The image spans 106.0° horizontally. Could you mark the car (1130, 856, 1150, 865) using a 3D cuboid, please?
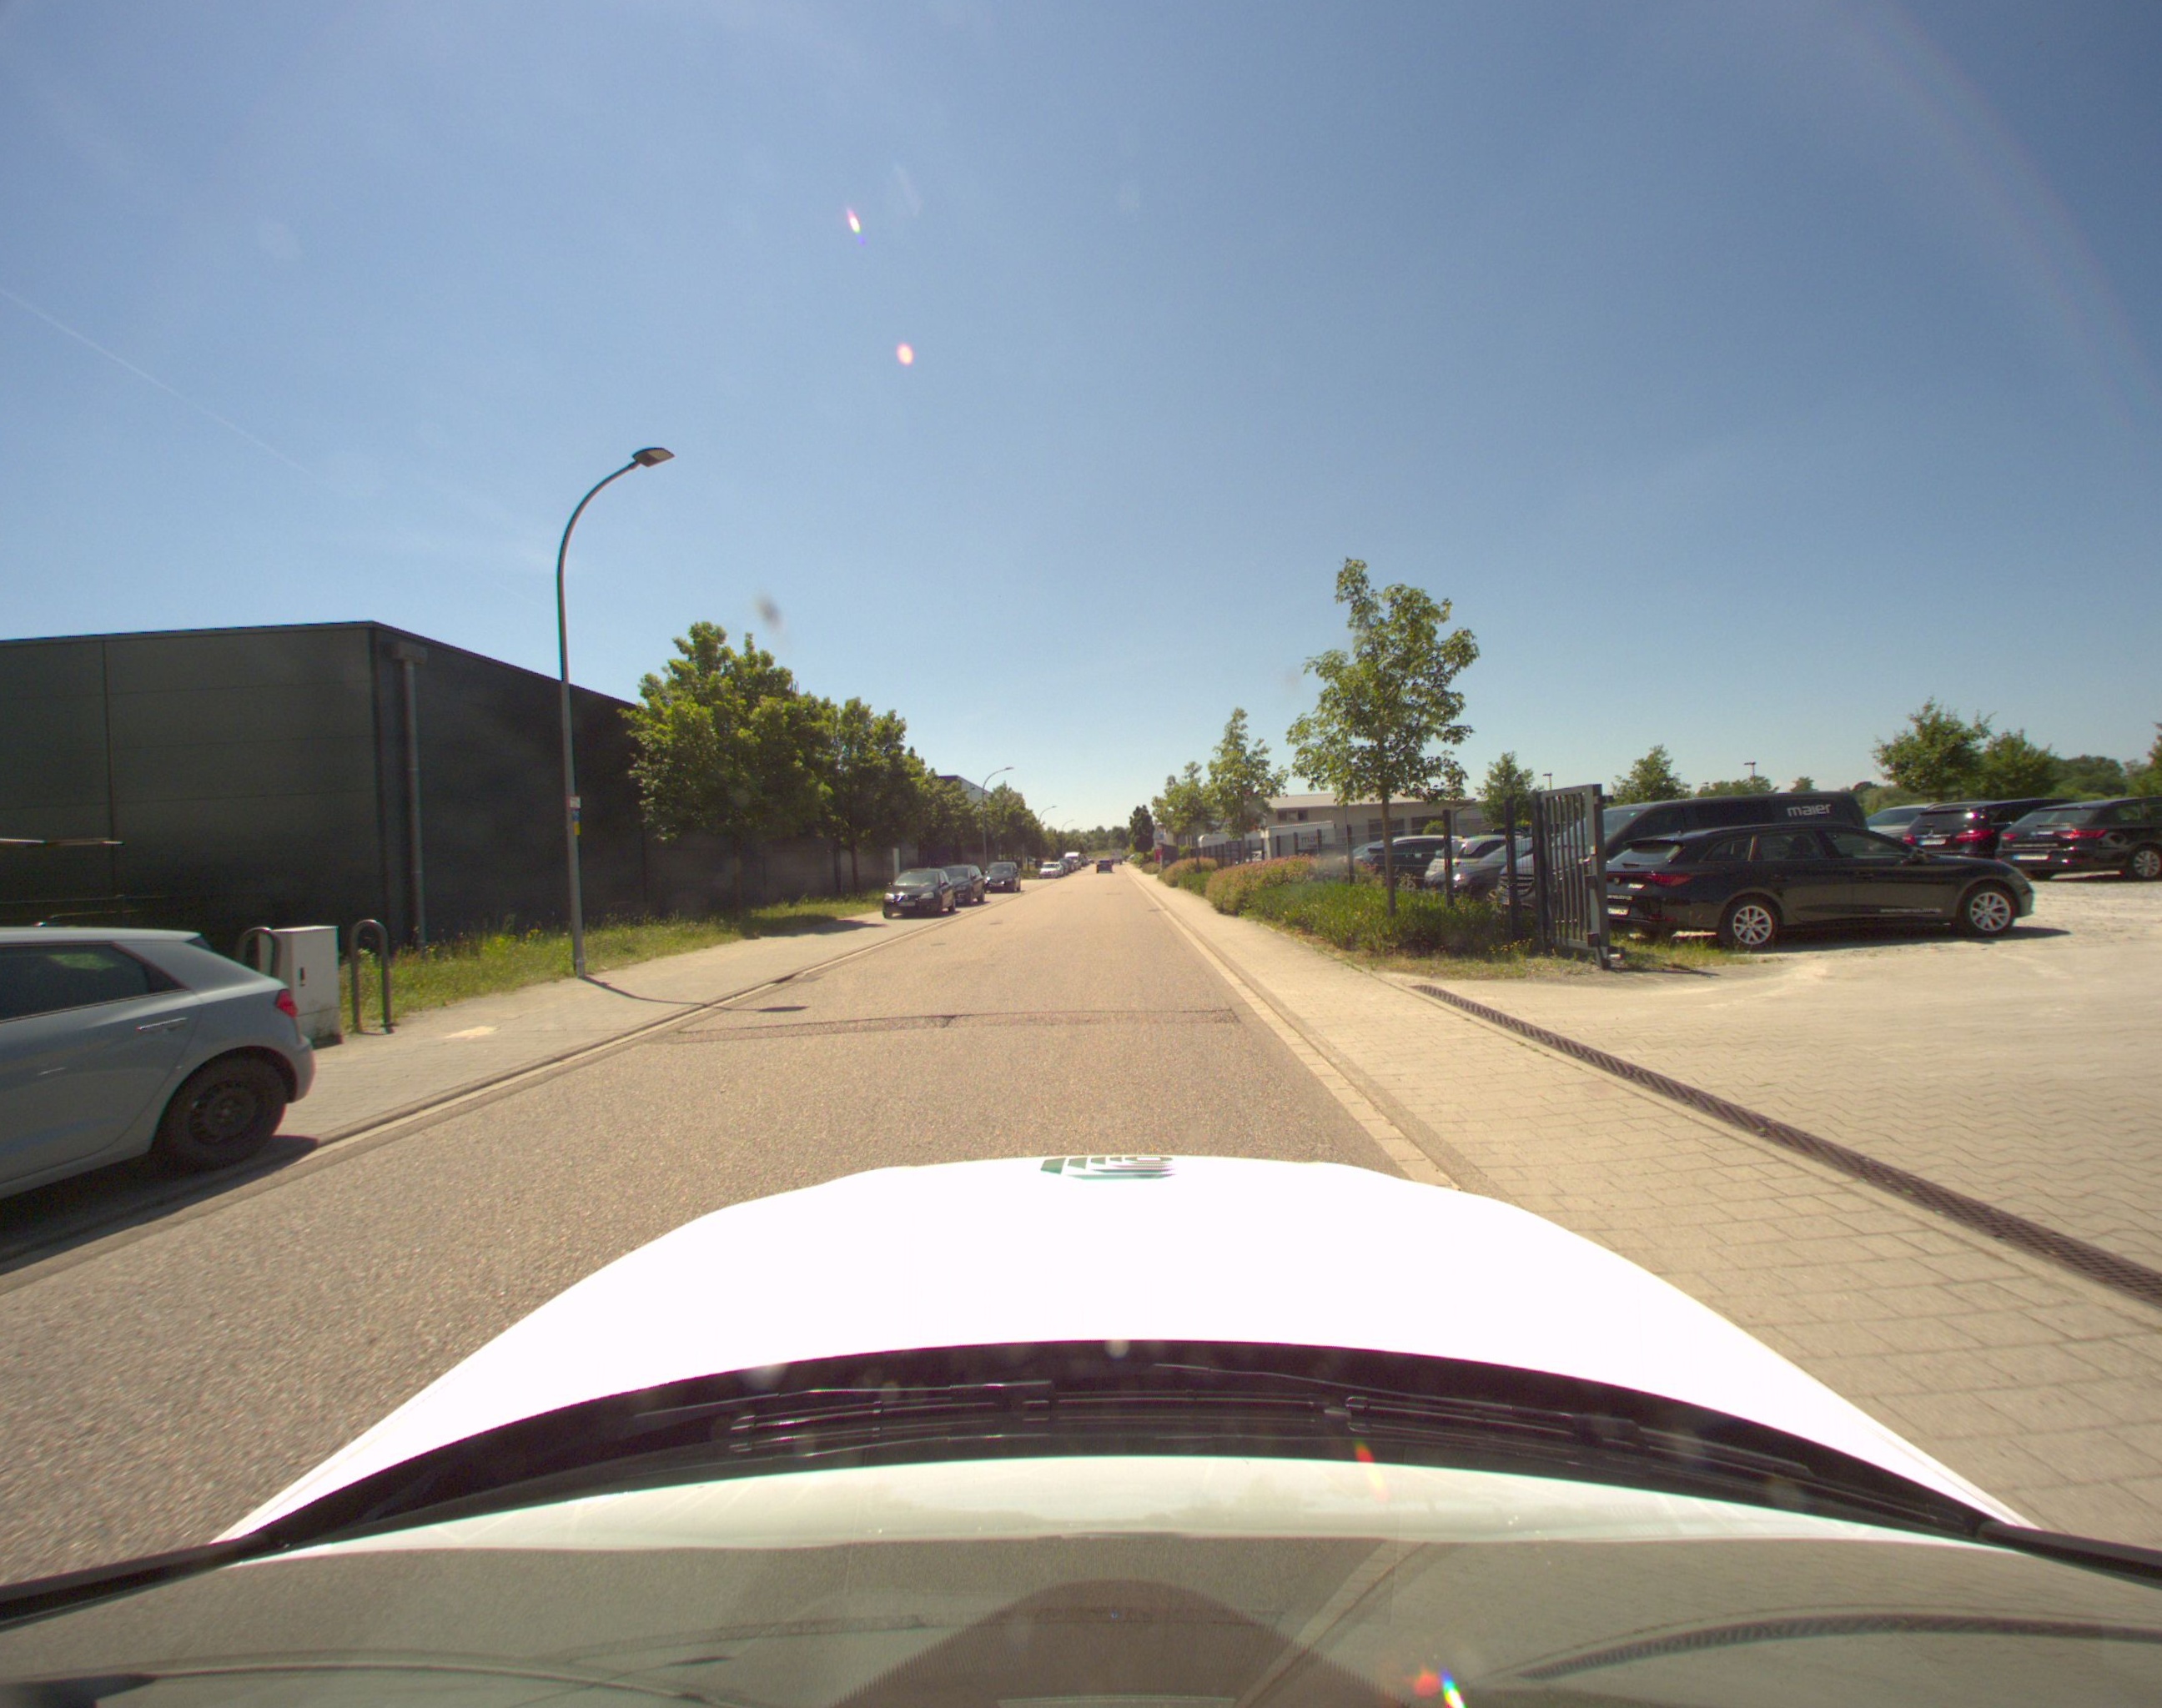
[{"bbox_3d":[11.786,1.255,163.583,3.863,1.750,1.751,0,-1,-1],"label":"car"}]

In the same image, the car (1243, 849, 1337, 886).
[{"bbox_3d":[9.699,0.623,38.041,3.830,1.440,1.805,-4,-1,-2],"label":"car"}]

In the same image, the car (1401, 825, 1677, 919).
[{"bbox_3d":[8.667,0.331,15.656,4.329,1.449,1.603,-4,-1,1],"label":"car"}]

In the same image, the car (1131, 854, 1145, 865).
[{"bbox_3d":[9.917,0.912,141.937,1.987,1.803,4.139,-3,-1,0],"label":"car"}]

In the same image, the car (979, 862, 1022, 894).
[{"bbox_3d":[-4.298,1.246,44.089,1.764,1.611,4.248,-2,-1,1],"label":"car"}]

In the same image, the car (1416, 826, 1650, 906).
[{"bbox_3d":[10.105,0.266,18.434,4.264,1.445,1.755,-4,-1,1],"label":"car"}]

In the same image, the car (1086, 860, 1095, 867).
[{"bbox_3d":[2.309,2.289,194.757,1.791,1.487,4.257,-2,0,4],"label":"car"}]

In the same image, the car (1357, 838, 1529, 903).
[{"bbox_3d":[9.192,0.411,20.877,3.651,1.422,1.645,-3,-1,1],"label":"car"}]

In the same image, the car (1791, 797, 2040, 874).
[{"bbox_3d":[20.243,-0.420,19.902,4.027,1.552,1.919,-3,-1,1],"label":"car"}]

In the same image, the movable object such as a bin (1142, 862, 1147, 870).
[{"bbox_3d":[8.235,1.551,105.310,0.529,1.052,0.846,-3,-1,4],"label":"movable object such as a bin"}]

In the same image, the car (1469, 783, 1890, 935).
[{"bbox_3d":[9.147,0.080,12.793,5.095,1.874,1.903,-4,-1,1],"label":"car"}]

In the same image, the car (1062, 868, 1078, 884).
[{"bbox_3d":[-1.324,2.706,99.870,1.792,1.814,4.253,-2,-1,2],"label":"car"}]

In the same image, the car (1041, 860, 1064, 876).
[{"bbox_3d":[-2.811,1.378,81.428,1.792,1.476,4.558,-2,-1,3],"label":"car"}]

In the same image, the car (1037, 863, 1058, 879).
[{"bbox_3d":[-3.084,1.564,76.166,1.715,1.476,3.856,-2,-1,0],"label":"car"}]

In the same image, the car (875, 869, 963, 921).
[{"bbox_3d":[-5.053,1.245,25.984,1.764,1.431,4.203,-2,-1,2],"label":"car"}]

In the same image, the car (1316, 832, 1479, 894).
[{"bbox_3d":[9.101,0.271,23.662,3.972,1.522,1.823,-3,-1,1],"label":"car"}]

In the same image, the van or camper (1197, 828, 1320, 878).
[{"bbox_3d":[10.526,-0.048,48.702,6.733,2.585,2.636,-3,-1,1],"label":"van or camper"}]

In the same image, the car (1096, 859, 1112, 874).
[{"bbox_3d":[2.627,1.428,92.621,1.782,1.623,3.811,0,-1,2],"label":"car"}]

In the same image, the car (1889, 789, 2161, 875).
[{"bbox_3d":[20.007,-0.436,17.229,3.855,1.503,1.769,-3,-1,4],"label":"car"}]

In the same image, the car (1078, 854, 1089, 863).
[{"bbox_3d":[0.510,0.804,150.277,1.791,1.487,4.257,-2,0,4],"label":"car"}]

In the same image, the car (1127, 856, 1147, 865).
[{"bbox_3d":[11.431,1.281,166.020,3.863,1.750,1.751,0,-1,-1],"label":"car"}]

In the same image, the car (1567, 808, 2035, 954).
[{"bbox_3d":[8.717,0.320,10.153,4.200,1.422,1.765,-3,-1,1],"label":"car"}]

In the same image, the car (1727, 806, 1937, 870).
[{"bbox_3d":[20.450,-0.408,22.306,4.027,1.448,1.776,-3,-1,1],"label":"car"}]

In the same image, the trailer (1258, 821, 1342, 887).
[{"bbox_3d":[8.672,0.012,32.395,2.815,2.403,1.418,-4,-1,-2],"label":"trailer"}]

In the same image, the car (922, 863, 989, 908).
[{"bbox_3d":[-4.878,1.186,32.371,1.764,1.611,4.853,-2,-1,1],"label":"car"}]

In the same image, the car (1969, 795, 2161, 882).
[{"bbox_3d":[19.130,-0.325,14.791,3.855,1.403,1.769,-3,-1,4],"label":"car"}]

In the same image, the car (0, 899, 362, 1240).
[{"bbox_3d":[-5.693,1.021,3.393,1.764,1.431,3.942,-2,-1,2],"label":"car"}]

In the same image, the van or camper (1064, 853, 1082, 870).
[{"bbox_3d":[-1.134,1.088,117.514,2.069,2.483,6.138,0,-1,5],"label":"van or camper"}]

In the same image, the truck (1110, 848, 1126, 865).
[{"bbox_3d":[6.790,0.454,148.545,2.921,2.974,6.423,0,-1,3],"label":"truck"}]
